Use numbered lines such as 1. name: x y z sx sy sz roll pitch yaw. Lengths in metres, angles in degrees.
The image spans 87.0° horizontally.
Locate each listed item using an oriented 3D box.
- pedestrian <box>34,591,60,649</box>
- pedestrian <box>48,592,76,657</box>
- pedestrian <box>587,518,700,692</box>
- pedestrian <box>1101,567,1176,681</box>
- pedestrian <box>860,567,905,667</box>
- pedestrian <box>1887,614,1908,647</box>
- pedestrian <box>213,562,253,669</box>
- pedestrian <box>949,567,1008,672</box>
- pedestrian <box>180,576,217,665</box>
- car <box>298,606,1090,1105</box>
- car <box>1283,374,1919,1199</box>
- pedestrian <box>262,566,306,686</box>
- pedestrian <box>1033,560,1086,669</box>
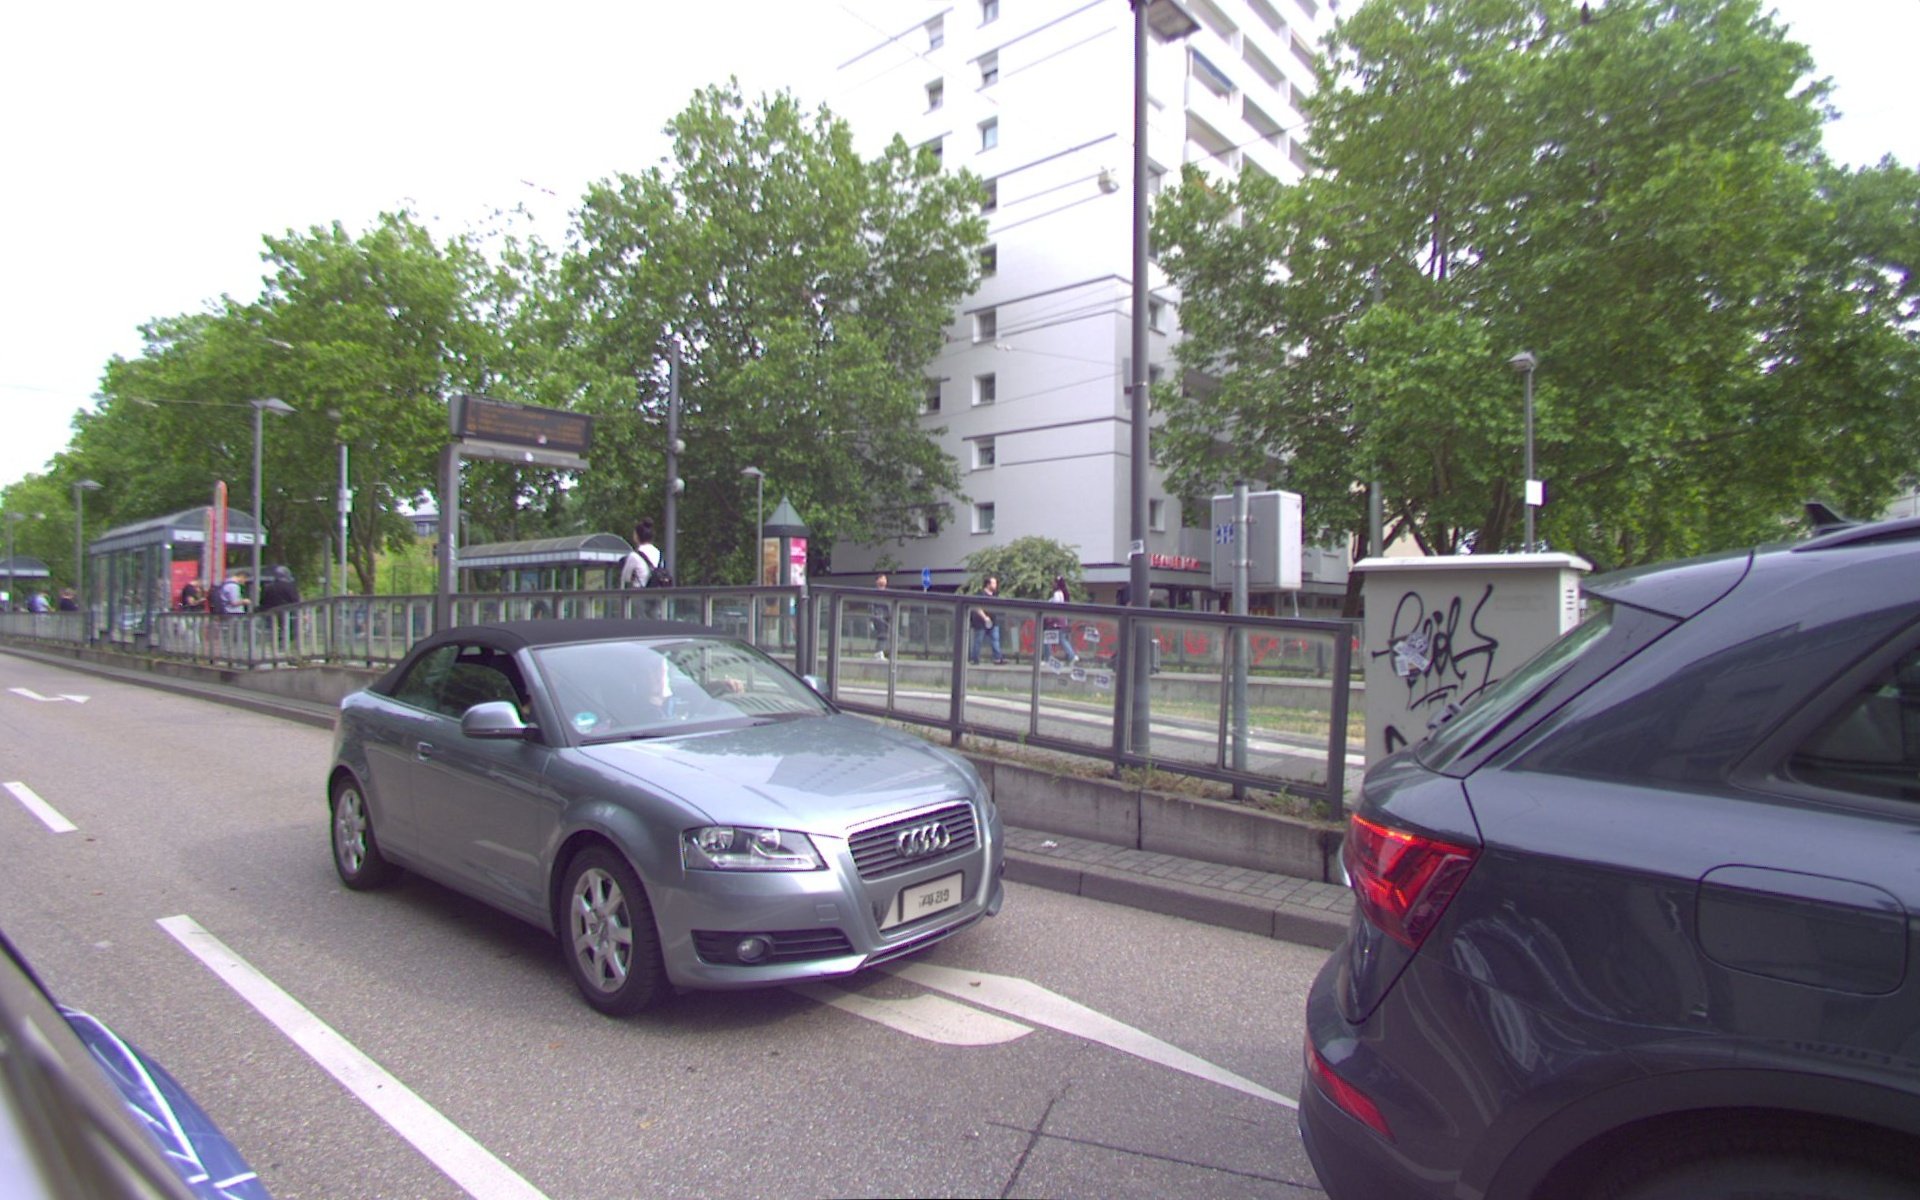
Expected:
1. pedestrian: -29.028 0.625 32.185 0.523 1.818 0.607 -1 0 -35
2. pedestrian: -25.559 0.694 28.823 0.523 1.818 0.607 -1 0 -35
3. pedestrian: -3.254 0.052 10.392 0.979 1.683 0.711 -1 0 43
4. pedestrian: 2.893 0.374 16.387 0.850 1.769 0.871 -1 0 41
5. pedestrian: -1.534 0.325 20.067 0.553 1.945 0.690 -1 0 41
6. pedestrian: 58.550 1.919 63.230 0.666 2.029 0.670 -1 0 2
7. pedestrian: -12.695 0.267 17.670 0.605 1.818 0.469 -1 0 45
8. pedestrian: 0.343 0.344 18.461 0.666 1.848 0.871 -1 0 41
9. pedestrian: -15.915 0.420 21.162 0.467 1.818 0.607 -1 0 -24
10. car: -1.562 0.750 4.879 4.097 1.398 1.694 -1 0 41
11. car: 2.700 0.536 0.973 4.225 1.649 1.715 -1 0 41
12. pedestrian: -10.519 0.390 15.742 0.513 1.818 0.606 -1 0 -37
13. pedestrian: 1.834 0.259 18.658 0.666 1.965 0.728 -1 0 41
